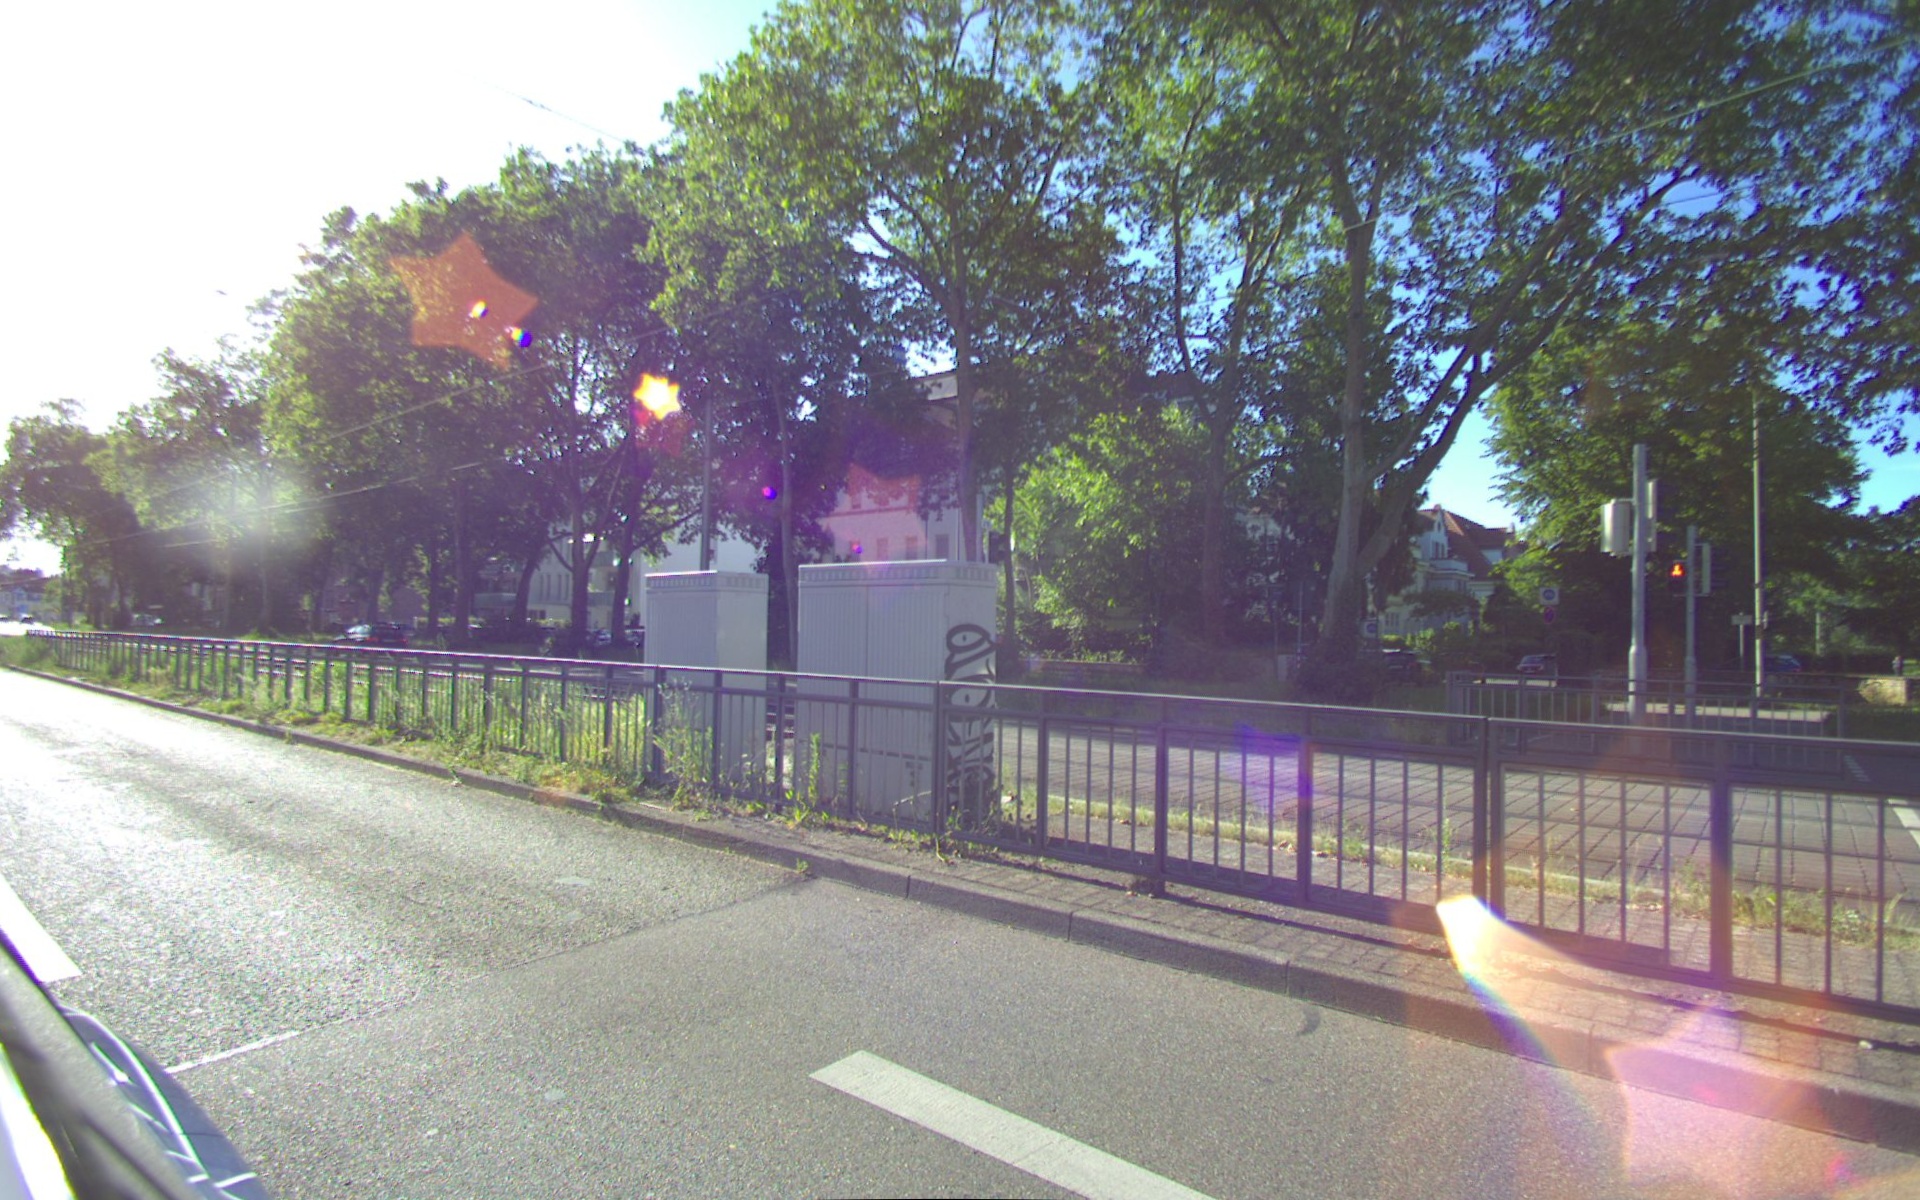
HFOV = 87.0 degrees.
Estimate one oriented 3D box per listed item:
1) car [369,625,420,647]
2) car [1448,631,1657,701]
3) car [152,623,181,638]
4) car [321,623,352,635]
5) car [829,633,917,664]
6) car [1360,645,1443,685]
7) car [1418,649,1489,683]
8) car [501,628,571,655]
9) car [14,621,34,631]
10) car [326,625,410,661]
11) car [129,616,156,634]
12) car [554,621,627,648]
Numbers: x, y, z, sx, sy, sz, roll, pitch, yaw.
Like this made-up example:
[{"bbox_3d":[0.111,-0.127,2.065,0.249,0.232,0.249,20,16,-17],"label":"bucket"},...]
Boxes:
[{"bbox_3d":[-38.930,2.454,69.629,3.998,1.484,1.778,-1,-3,41],"label":"car"},{"bbox_3d":[14.180,1.524,24.348,4.141,1.521,1.652,-1,-2,40],"label":"car"},{"bbox_3d":[-83.852,3.186,106.902,3.686,1.497,1.748,-1,-3,41],"label":"car"},{"bbox_3d":[-46.731,2.188,75.783,3.058,0.883,1.094,-1,-3,41],"label":"car"},{"bbox_3d":[-3.350,1.838,38.810,3.213,1.125,1.458,-1,-2,38],"label":"car"},{"bbox_3d":[17.829,2.578,40.787,1.999,1.429,3.945,-1,-2,41],"label":"car"},{"bbox_3d":[22.965,3.050,47.023,1.999,1.429,3.945,-1,-2,41],"label":"car"},{"bbox_3d":[-24.175,2.361,57.628,4.317,1.464,1.972,-1,-3,41],"label":"car"},{"bbox_3d":[-159.657,4.390,172.662,4.456,1.660,1.839,-1,-3,39],"label":"car"},{"bbox_3d":[-26.006,1.855,44.410,4.337,1.510,1.667,-1,-2,38],"label":"car"},{"bbox_3d":[-91.570,2.797,113.366,1.971,2.029,4.002,0,-1,-45],"label":"car"},{"bbox_3d":[-19.345,1.790,52.913,4.459,1.334,1.623,-1,-4,41],"label":"car"}]
